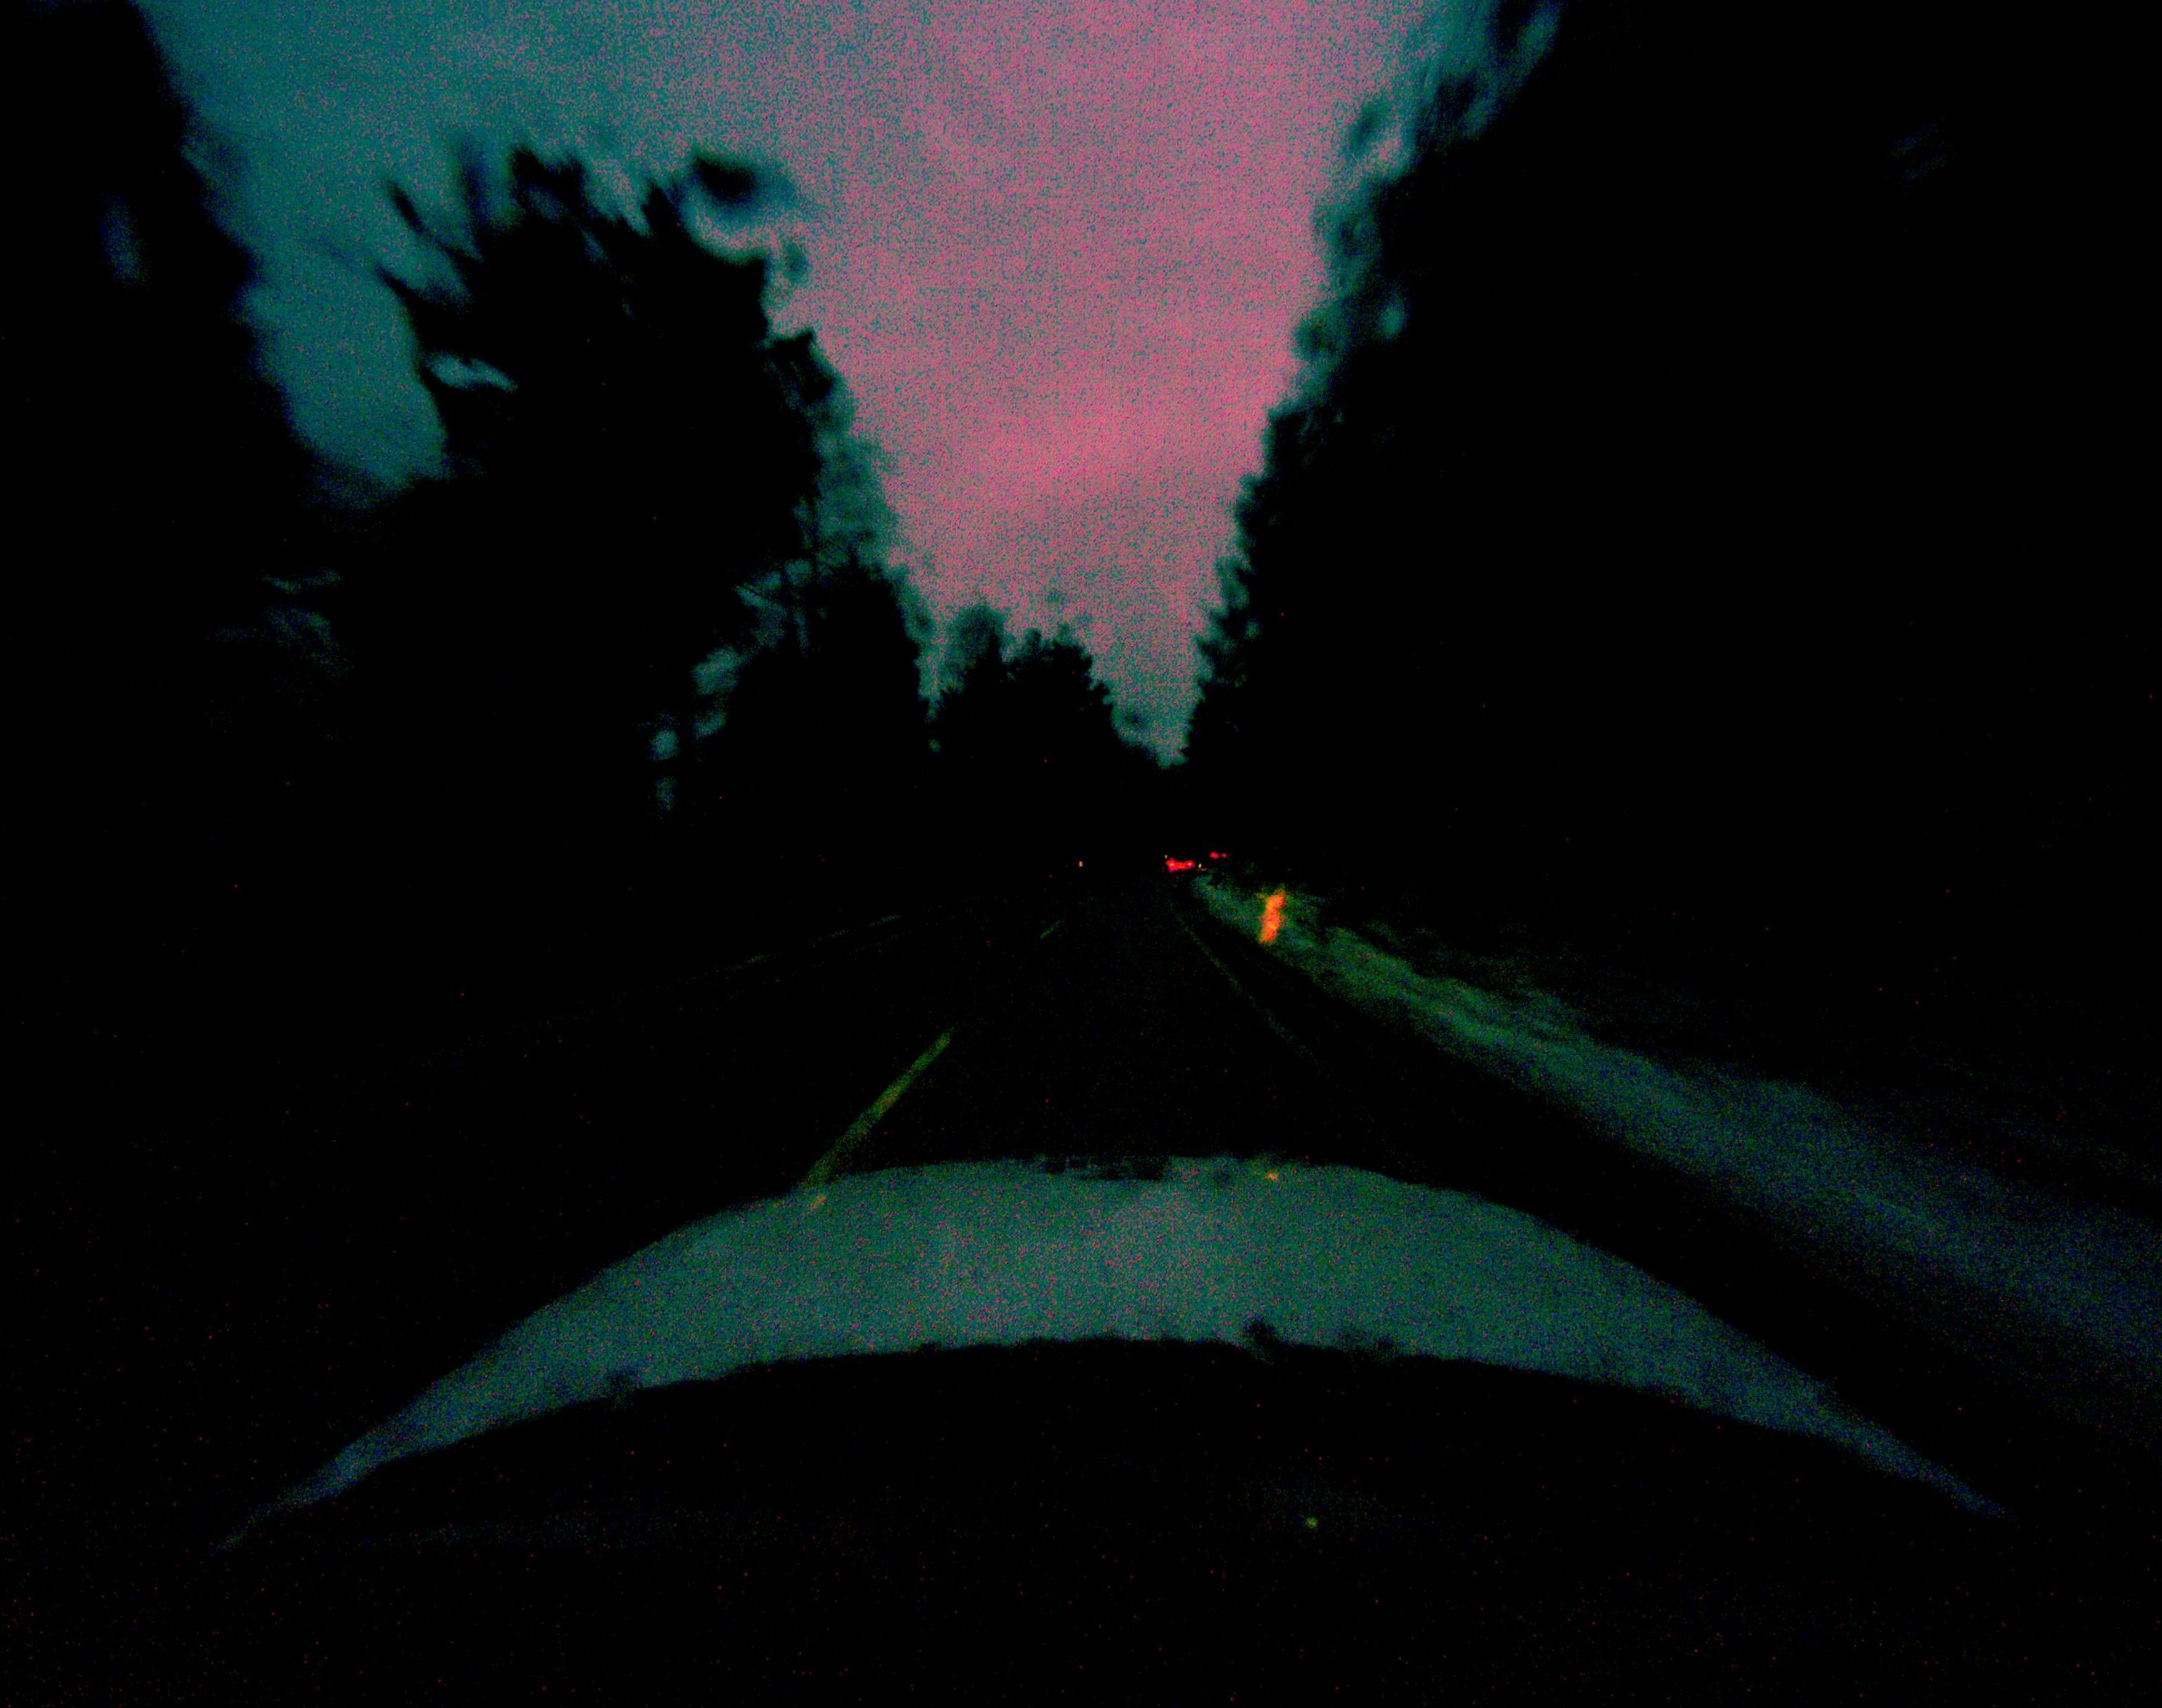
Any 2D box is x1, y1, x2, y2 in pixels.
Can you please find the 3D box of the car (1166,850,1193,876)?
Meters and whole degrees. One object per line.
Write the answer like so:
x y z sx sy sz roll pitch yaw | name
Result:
7.805 0.713 64.592 1.983 1.872 4.007 -4 0 6 | car

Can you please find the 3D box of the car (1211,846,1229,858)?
17.014 -0.292 99.523 1.982 1.310 4.010 -4 0 8 | car
